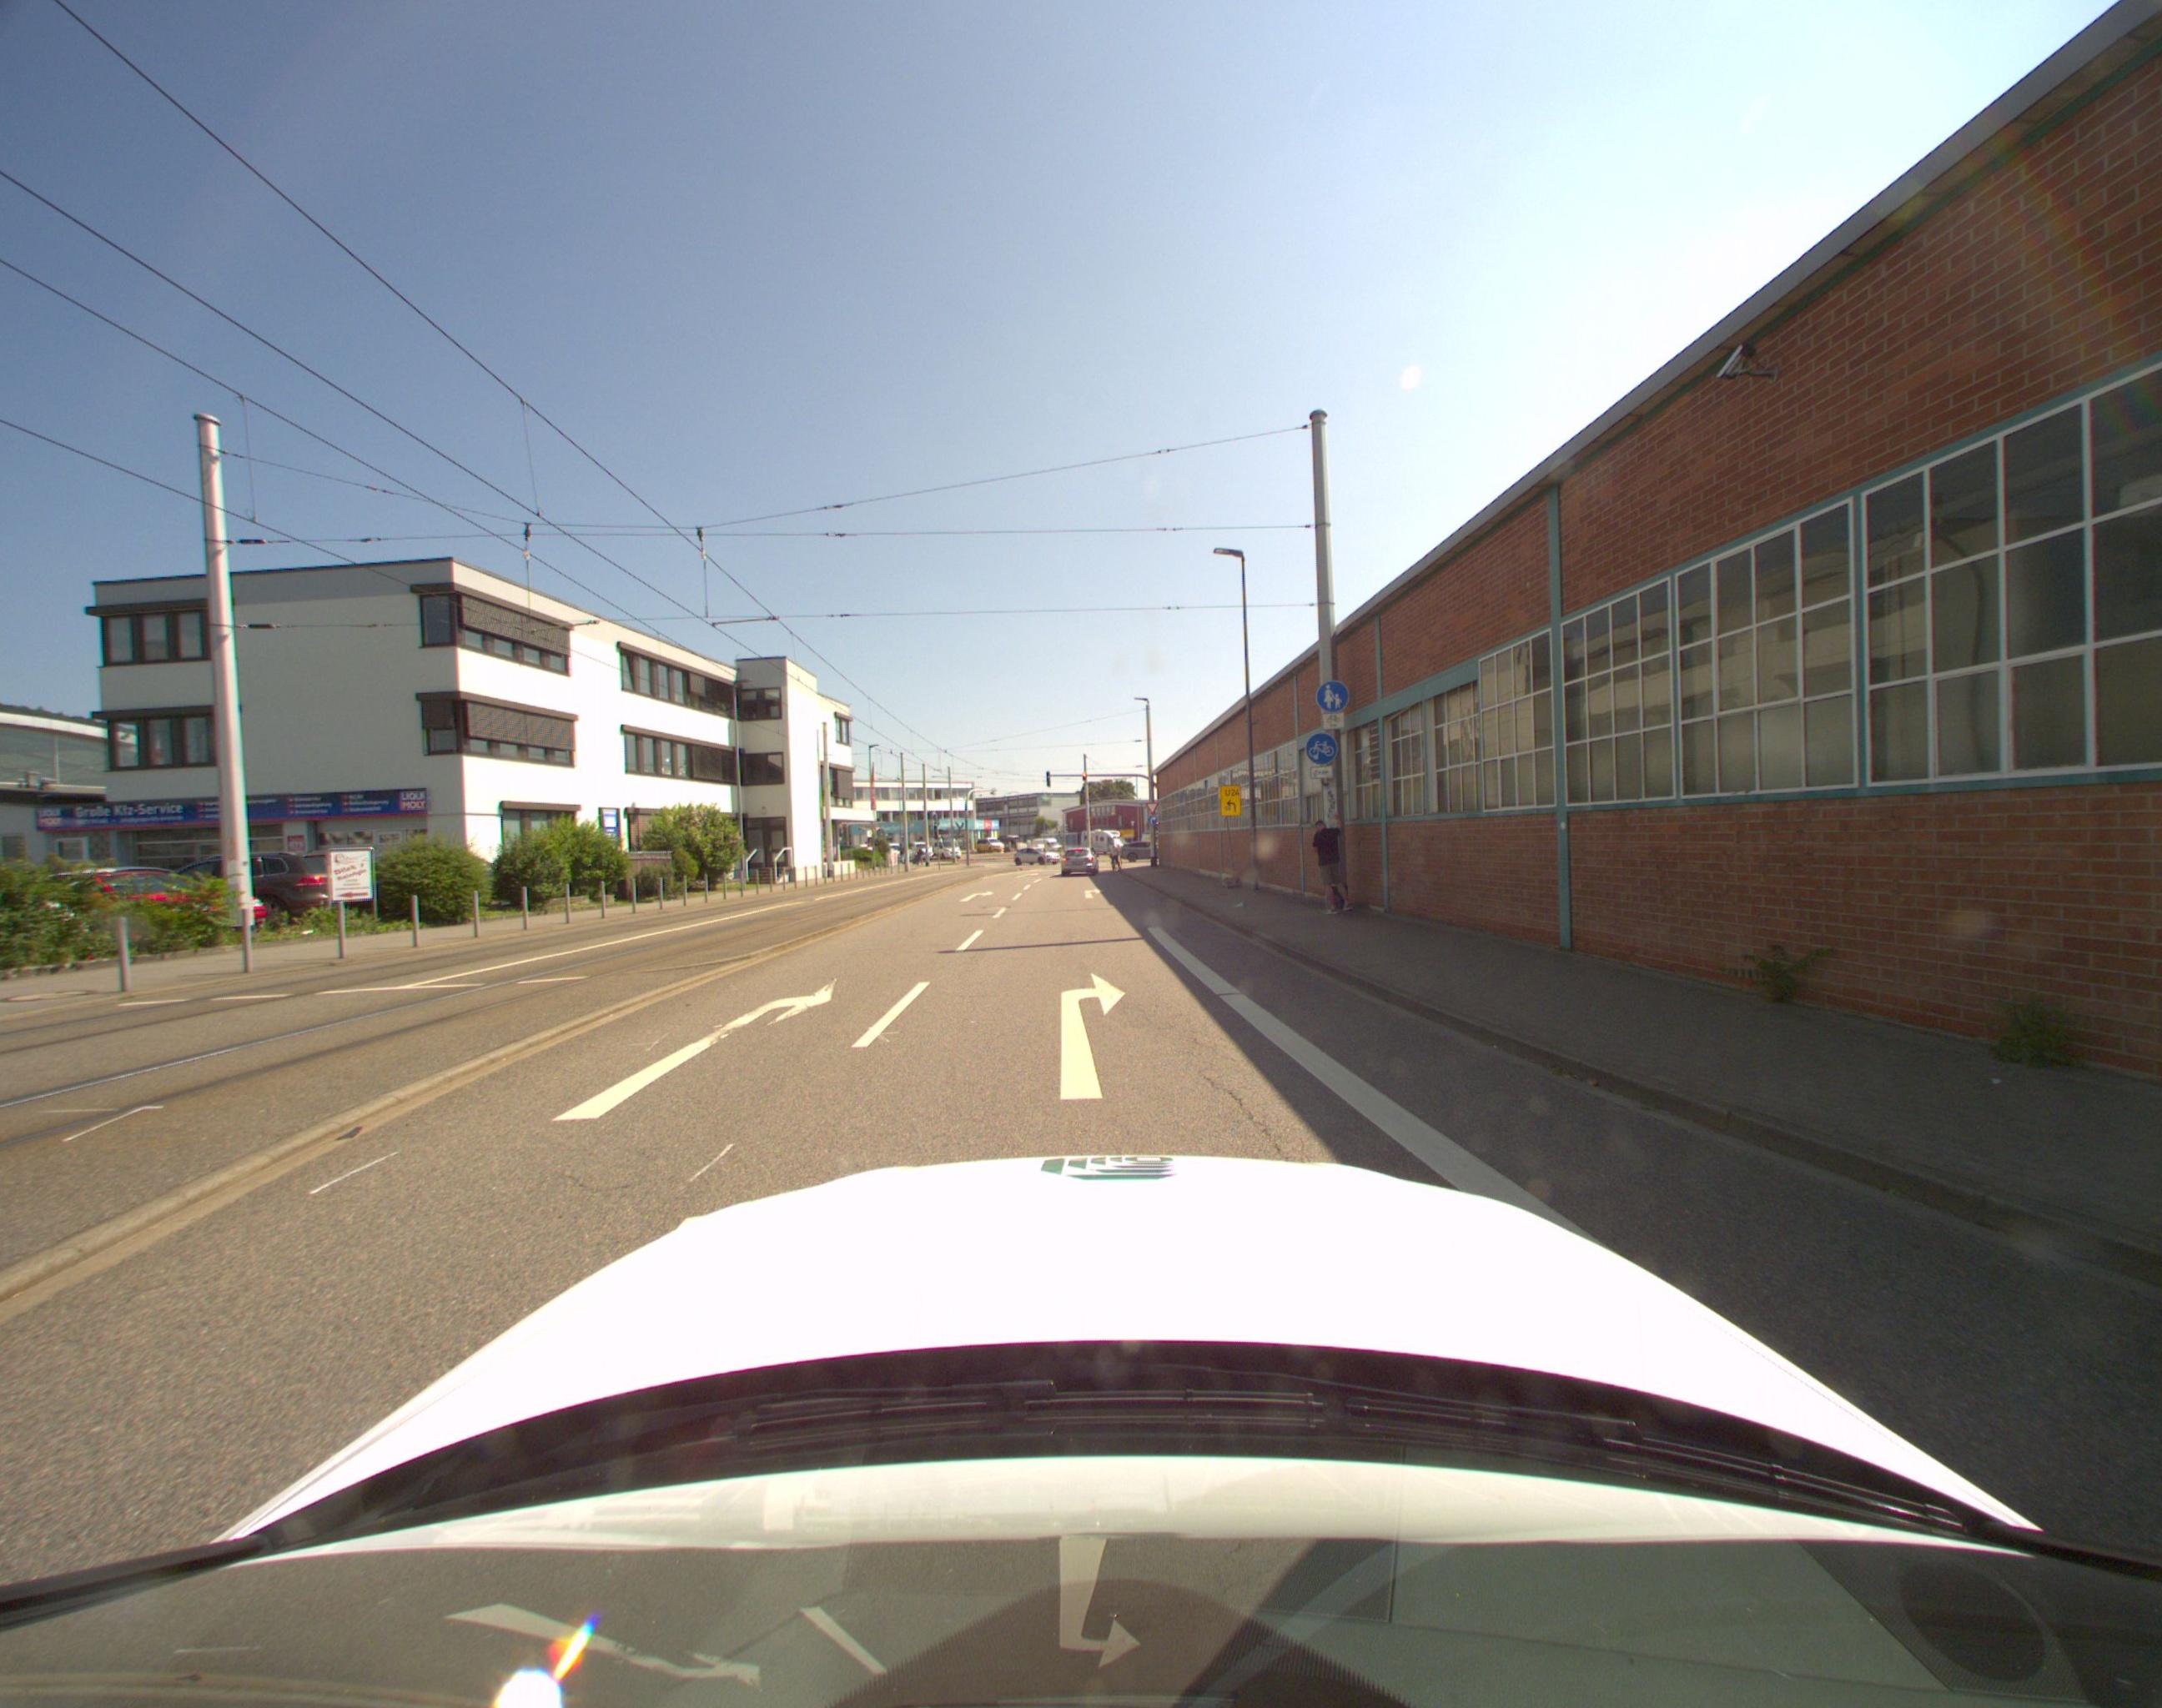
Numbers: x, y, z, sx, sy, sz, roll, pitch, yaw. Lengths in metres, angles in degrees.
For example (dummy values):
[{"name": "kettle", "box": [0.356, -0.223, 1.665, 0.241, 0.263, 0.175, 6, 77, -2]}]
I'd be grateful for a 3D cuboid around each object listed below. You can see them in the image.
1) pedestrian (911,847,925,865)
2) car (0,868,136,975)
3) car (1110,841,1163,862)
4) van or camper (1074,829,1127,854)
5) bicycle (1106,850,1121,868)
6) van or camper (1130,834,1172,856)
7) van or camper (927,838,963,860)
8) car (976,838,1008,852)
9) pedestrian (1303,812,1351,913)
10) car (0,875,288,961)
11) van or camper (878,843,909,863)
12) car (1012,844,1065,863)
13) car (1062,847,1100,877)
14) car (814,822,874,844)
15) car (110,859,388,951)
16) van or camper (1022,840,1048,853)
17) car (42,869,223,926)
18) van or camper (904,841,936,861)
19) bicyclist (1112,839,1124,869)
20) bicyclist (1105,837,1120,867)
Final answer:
[{"name": "pedestrian", "box": [-14.096, 0.153, 70.295, 1.130, 1.454, 0.835, -2, 0, -10]}, {"name": "car", "box": [-17.074, 1.070, 11.932, 1.727, 1.541, 3.843, -2, 1, 6]}, {"name": "car", "box": [4.413, -0.219, 64.279, 3.963, 1.508, 1.884, -2, 1, 9]}, {"name": "van or camper", "box": [2.325, -1.577, 99.353, 2.367, 2.929, 6.902, -4, 4, -42]}, {"name": "bicycle", "box": [1.923, 0.280, 48.371, 0.791, 1.021, 2.153, -2, 1, 3]}, {"name": "van or camper", "box": [8.678, -1.187, 101.440, 2.300, 2.439, 5.327, -4, 5, -37]}, {"name": "van or camper", "box": [-15.513, -0.628, 92.924, 2.044, 2.295, 5.757, -3, 3, -30]}, {"name": "car", "box": [-11.678, -1.158, 106.726, 1.952, 1.759, 5.068, -2, 1, -34]}, {"name": "pedestrian", "box": [4.407, 0.141, 14.611, 0.684, 1.764, 0.448, -2, 3, -10]}, {"name": "car", "box": [-18.025, 1.195, 15.656, 3.809, 1.370, 1.749, -2, 0, 1]}, {"name": "van or camper", "box": [-21.016, -0.139, 91.014, 2.007, 2.013, 4.717, -3, 3, -30]}, {"name": "car", "box": [-3.517, -0.019, 67.355, 4.150, 1.374, 1.815, -2, 1, 37]}, {"name": "car", "box": [0.031, 0.392, 43.663, 1.739, 1.459, 4.004, -2, 1, 3]}, {"name": "car", "box": [-18.198, -1.646, 62.683, 3.971, 1.518, 2.002, -2, 3, 2]}, {"name": "car", "box": [-18.179, 1.075, 17.955, 3.973, 1.705, 2.000, -3, 0, 0]}, {"name": "van or camper", "box": [-7.488, -1.210, 133.513, 3.949, 1.947, 2.012, -1, 1, 43]}, {"name": "car", "box": [-27.847, 1.249, 24.048, 1.408, 1.426, 3.142, -2, 1, 11]}, {"name": "van or camper", "box": [-18.100, -0.336, 91.459, 2.007, 2.013, 4.962, -3, 3, -30]}, {"name": "bicyclist", "box": [2.304, 0.007, 50.488, 0.705, 1.810, 0.983, -2, 0, 2]}, {"name": "bicyclist", "box": [1.865, -0.130, 48.276, 0.782, 1.721, 1.148, -2, 0, 3]}]
